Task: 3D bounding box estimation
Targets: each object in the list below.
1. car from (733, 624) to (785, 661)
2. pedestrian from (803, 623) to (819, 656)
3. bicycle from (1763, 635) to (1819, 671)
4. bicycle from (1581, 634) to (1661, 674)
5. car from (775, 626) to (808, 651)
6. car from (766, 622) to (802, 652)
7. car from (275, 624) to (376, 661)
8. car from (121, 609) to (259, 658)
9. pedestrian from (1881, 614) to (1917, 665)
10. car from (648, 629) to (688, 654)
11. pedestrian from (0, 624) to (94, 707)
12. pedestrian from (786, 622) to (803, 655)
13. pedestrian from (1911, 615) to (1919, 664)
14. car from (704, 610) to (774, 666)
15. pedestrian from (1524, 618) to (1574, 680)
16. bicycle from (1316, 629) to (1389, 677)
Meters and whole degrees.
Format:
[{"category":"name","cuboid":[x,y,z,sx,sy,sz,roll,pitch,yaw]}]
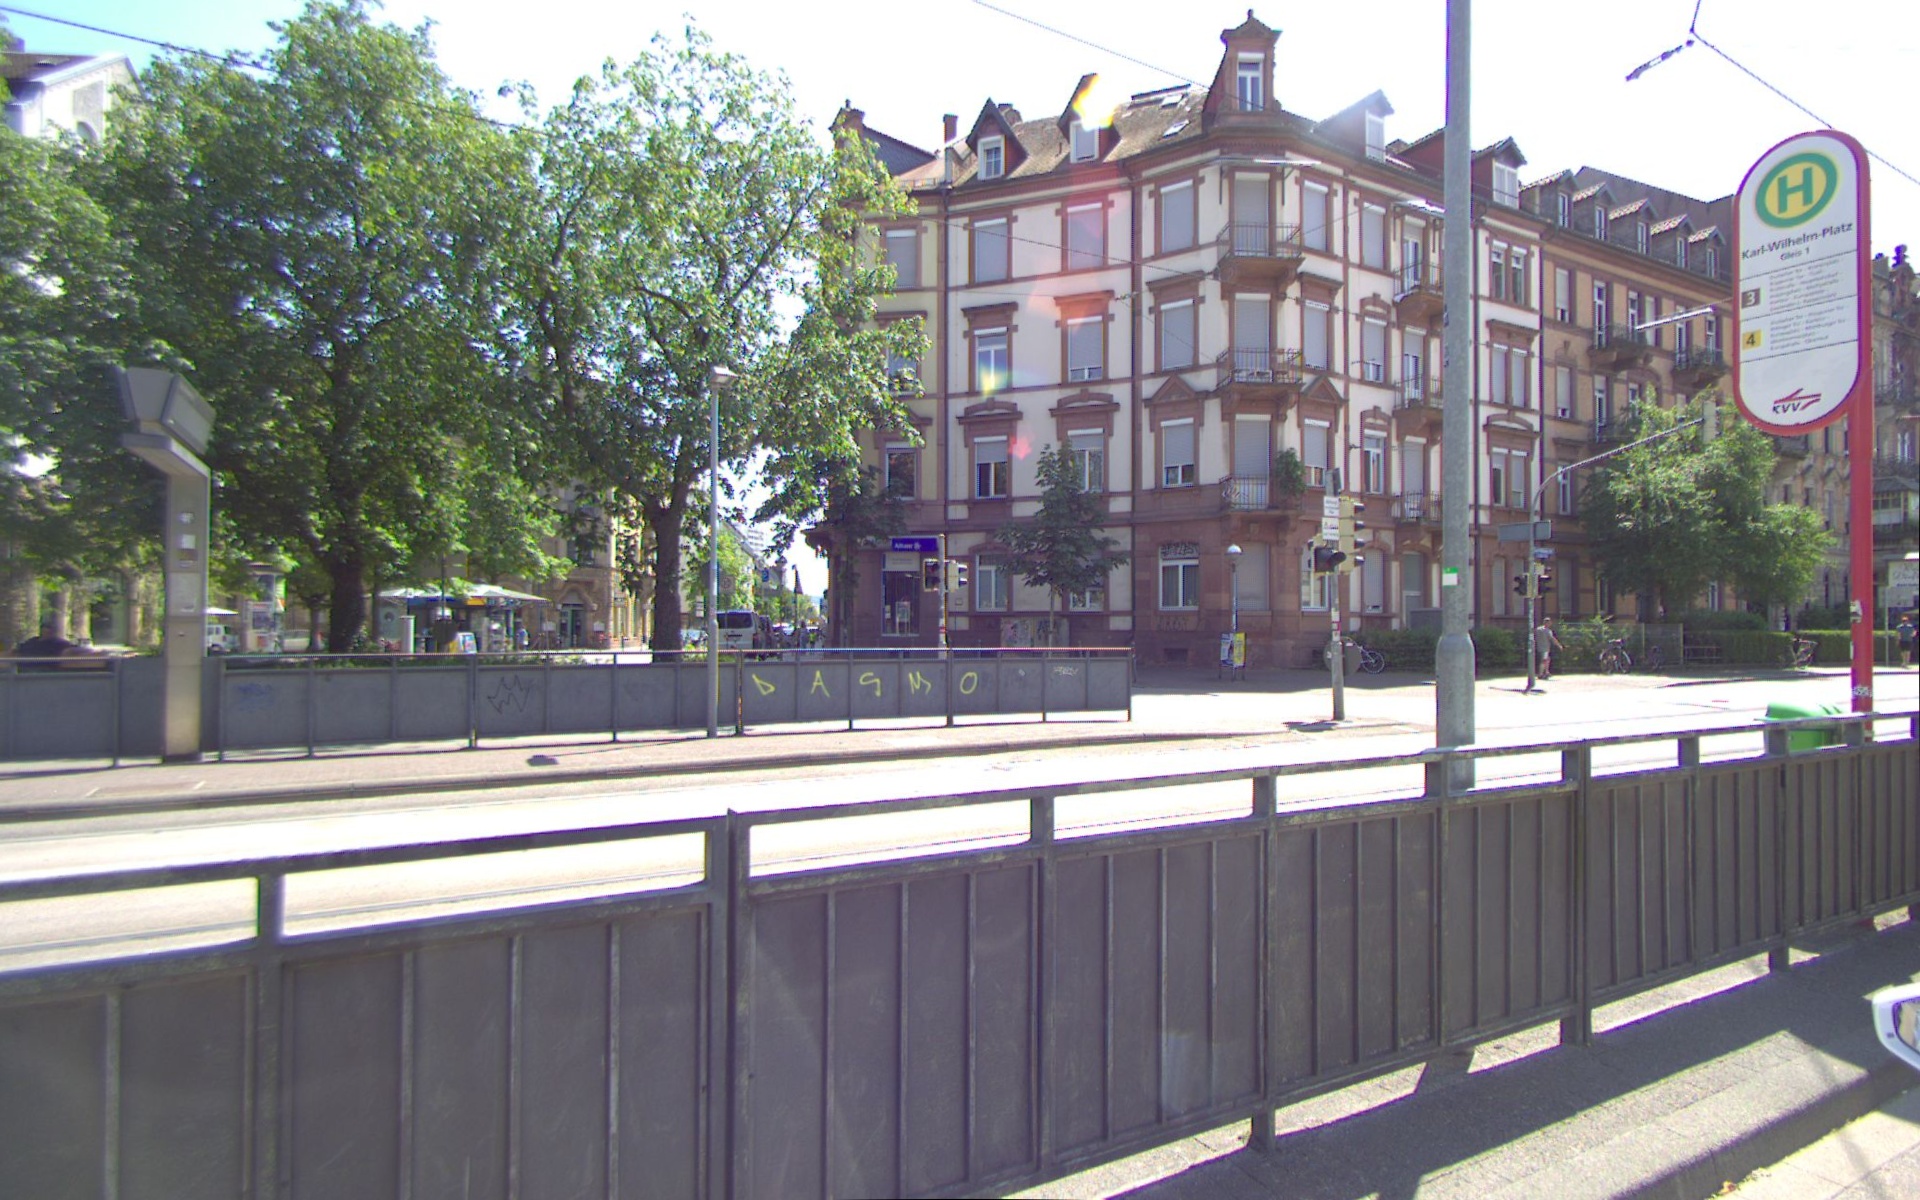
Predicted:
[{"category":"car","cuboid":[-9.630,2.009,48.298,1.893,1.541,3.998,2,0,-4]},{"category":"pedestrian","cuboid":[-7.404,1.977,49.849,0.742,1.632,0.688,0,-1,-4]},{"category":"bicycle","cuboid":[28.531,1.815,34.483,2.750,1.151,0.930,2,0,-39]},{"category":"bicycle","cuboid":[20.224,1.654,30.726,2.742,1.151,0.932,2,0,-31]},{"category":"car","cuboid":[-12.489,2.843,74.767,1.962,1.617,3.998,2,0,-4]},{"category":"car","cuboid":[-10.378,2.176,59.463,1.684,1.617,3.998,2,0,-4]},{"category":"car","cuboid":[-32.080,2.150,50.899,3.920,1.730,1.761,2,0,-14]},{"category":"car","cuboid":[-31.193,1.358,40.824,3.932,1.814,1.994,2,0,-14]},{"category":"pedestrian","cuboid":[35.445,1.479,37.910,0.865,1.847,0.810,0,1,-36]},{"category":"car","cuboid":[-20.665,2.912,71.173,1.846,1.617,3.998,2,0,-4]},{"category":"pedestrian","cuboid":[-14.663,1.039,16.115,0.925,1.261,0.860,2,0,-24]},{"category":"pedestrian","cuboid":[-8.173,1.912,49.593,0.790,1.632,0.731,0,-1,-4]},{"category":"pedestrian","cuboid":[36.310,1.485,37.629,0.865,1.847,0.810,0,1,-36]},{"category":"car","cuboid":[-8.335,1.394,38.226,1.962,1.970,3.998,2,0,-4]},{"category":"pedestrian","cuboid":[16.741,1.379,28.565,1.041,1.712,0.723,0,-1,16]},{"category":"bicycle","cuboid":[11.661,1.563,29.873,1.923,1.312,0.564,2,0,11]}]
